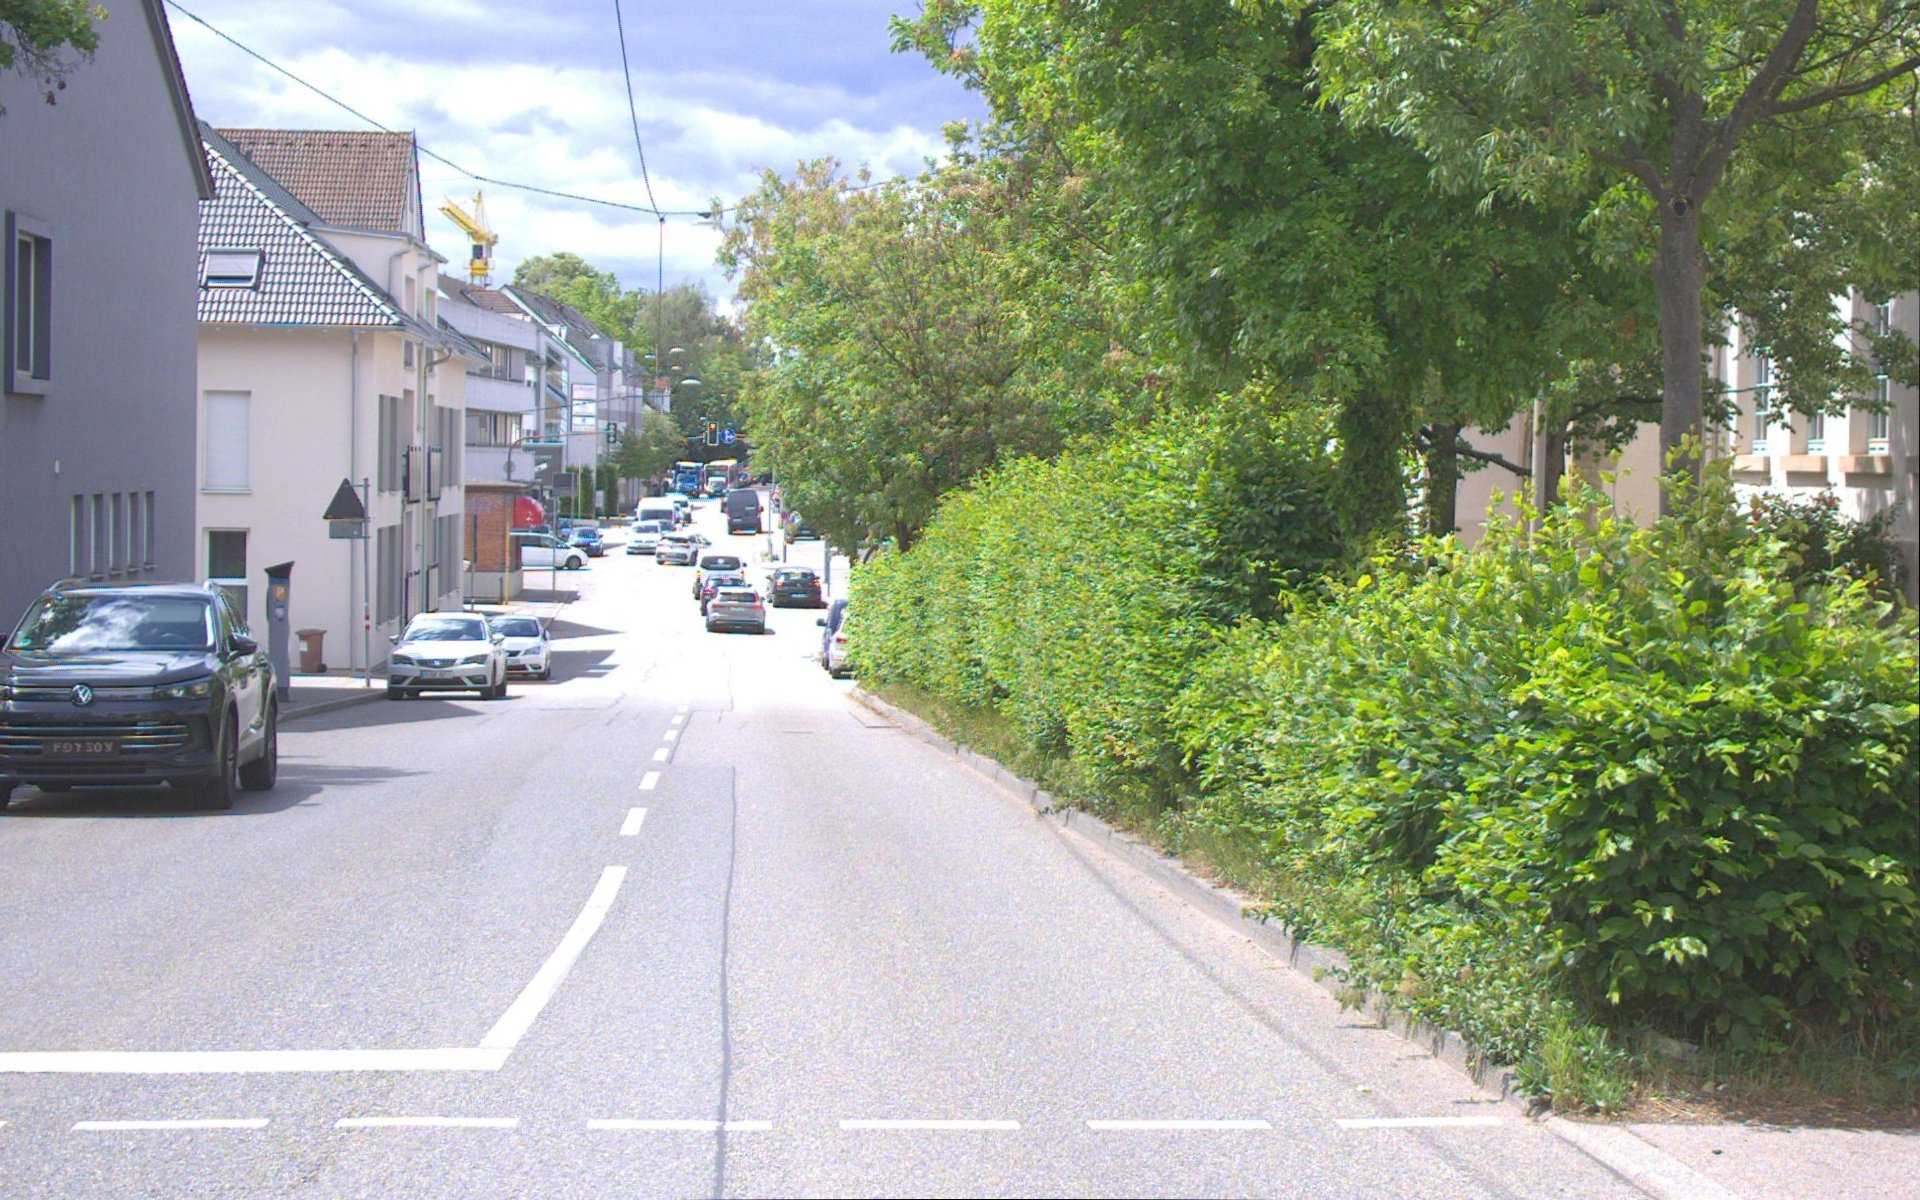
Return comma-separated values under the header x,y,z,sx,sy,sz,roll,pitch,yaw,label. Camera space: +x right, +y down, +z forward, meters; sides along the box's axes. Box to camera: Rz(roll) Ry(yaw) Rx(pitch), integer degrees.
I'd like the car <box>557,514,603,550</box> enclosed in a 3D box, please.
x,y,z,sx,sy,sz,roll,pitch,yaw,label
-18.895,-3.368,171.097,1.873,1.634,4.000,2,0,-2,car

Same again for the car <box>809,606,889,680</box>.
x,y,z,sx,sy,sz,roll,pitch,yaw,label
-2.855,1.085,87.818,1.844,1.761,4.515,1,0,-4,car

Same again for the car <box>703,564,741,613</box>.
x,y,z,sx,sy,sz,roll,pitch,yaw,label
-8.394,-0.404,121.220,1.273,1.522,3.051,1,4,-4,car

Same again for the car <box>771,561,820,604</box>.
x,y,z,sx,sy,sz,roll,pitch,yaw,label
-6.130,-0.682,128.391,1.753,1.366,4.001,1,3,-3,car

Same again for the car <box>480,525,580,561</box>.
x,y,z,sx,sy,sz,roll,pitch,yaw,label
-18.917,-2.515,151.255,3.987,1.552,1.786,0,0,-35,car

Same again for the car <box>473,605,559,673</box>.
x,y,z,sx,sy,sz,roll,pitch,yaw,label
-9.869,0.859,76.597,1.647,1.414,3.699,2,0,-4,car

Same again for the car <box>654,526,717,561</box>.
x,y,z,sx,sy,sz,roll,pitch,yaw,label
-12.902,-2.646,161.753,1.783,1.487,3.998,3,0,12,car

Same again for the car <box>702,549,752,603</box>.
x,y,z,sx,sy,sz,roll,pitch,yaw,label
-8.940,-0.931,131.721,1.836,1.855,3.851,2,3,-4,car

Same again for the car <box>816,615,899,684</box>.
x,y,z,sx,sy,sz,roll,pitch,yaw,label
-2.480,1.156,82.088,1.786,1.504,4.365,1,0,-4,car

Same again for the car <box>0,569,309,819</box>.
x,y,z,sx,sy,sz,roll,pitch,yaw,label
-6.045,0.604,25.185,1.795,1.605,4.646,1,1,-2,car

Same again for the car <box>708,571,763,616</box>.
x,y,z,sx,sy,sz,roll,pitch,yaw,label
-7.368,-0.219,112.527,1.744,1.412,4.001,1,1,-4,car

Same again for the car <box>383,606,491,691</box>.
x,y,z,sx,sy,sz,roll,pitch,yaw,label
-8.874,0.849,58.591,1.697,1.386,3.866,1,-2,-7,car

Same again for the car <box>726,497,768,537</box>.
x,y,z,sx,sy,sz,roll,pitch,yaw,label
-13.158,-5.121,212.286,2.436,2.310,5.327,2,1,-4,car
